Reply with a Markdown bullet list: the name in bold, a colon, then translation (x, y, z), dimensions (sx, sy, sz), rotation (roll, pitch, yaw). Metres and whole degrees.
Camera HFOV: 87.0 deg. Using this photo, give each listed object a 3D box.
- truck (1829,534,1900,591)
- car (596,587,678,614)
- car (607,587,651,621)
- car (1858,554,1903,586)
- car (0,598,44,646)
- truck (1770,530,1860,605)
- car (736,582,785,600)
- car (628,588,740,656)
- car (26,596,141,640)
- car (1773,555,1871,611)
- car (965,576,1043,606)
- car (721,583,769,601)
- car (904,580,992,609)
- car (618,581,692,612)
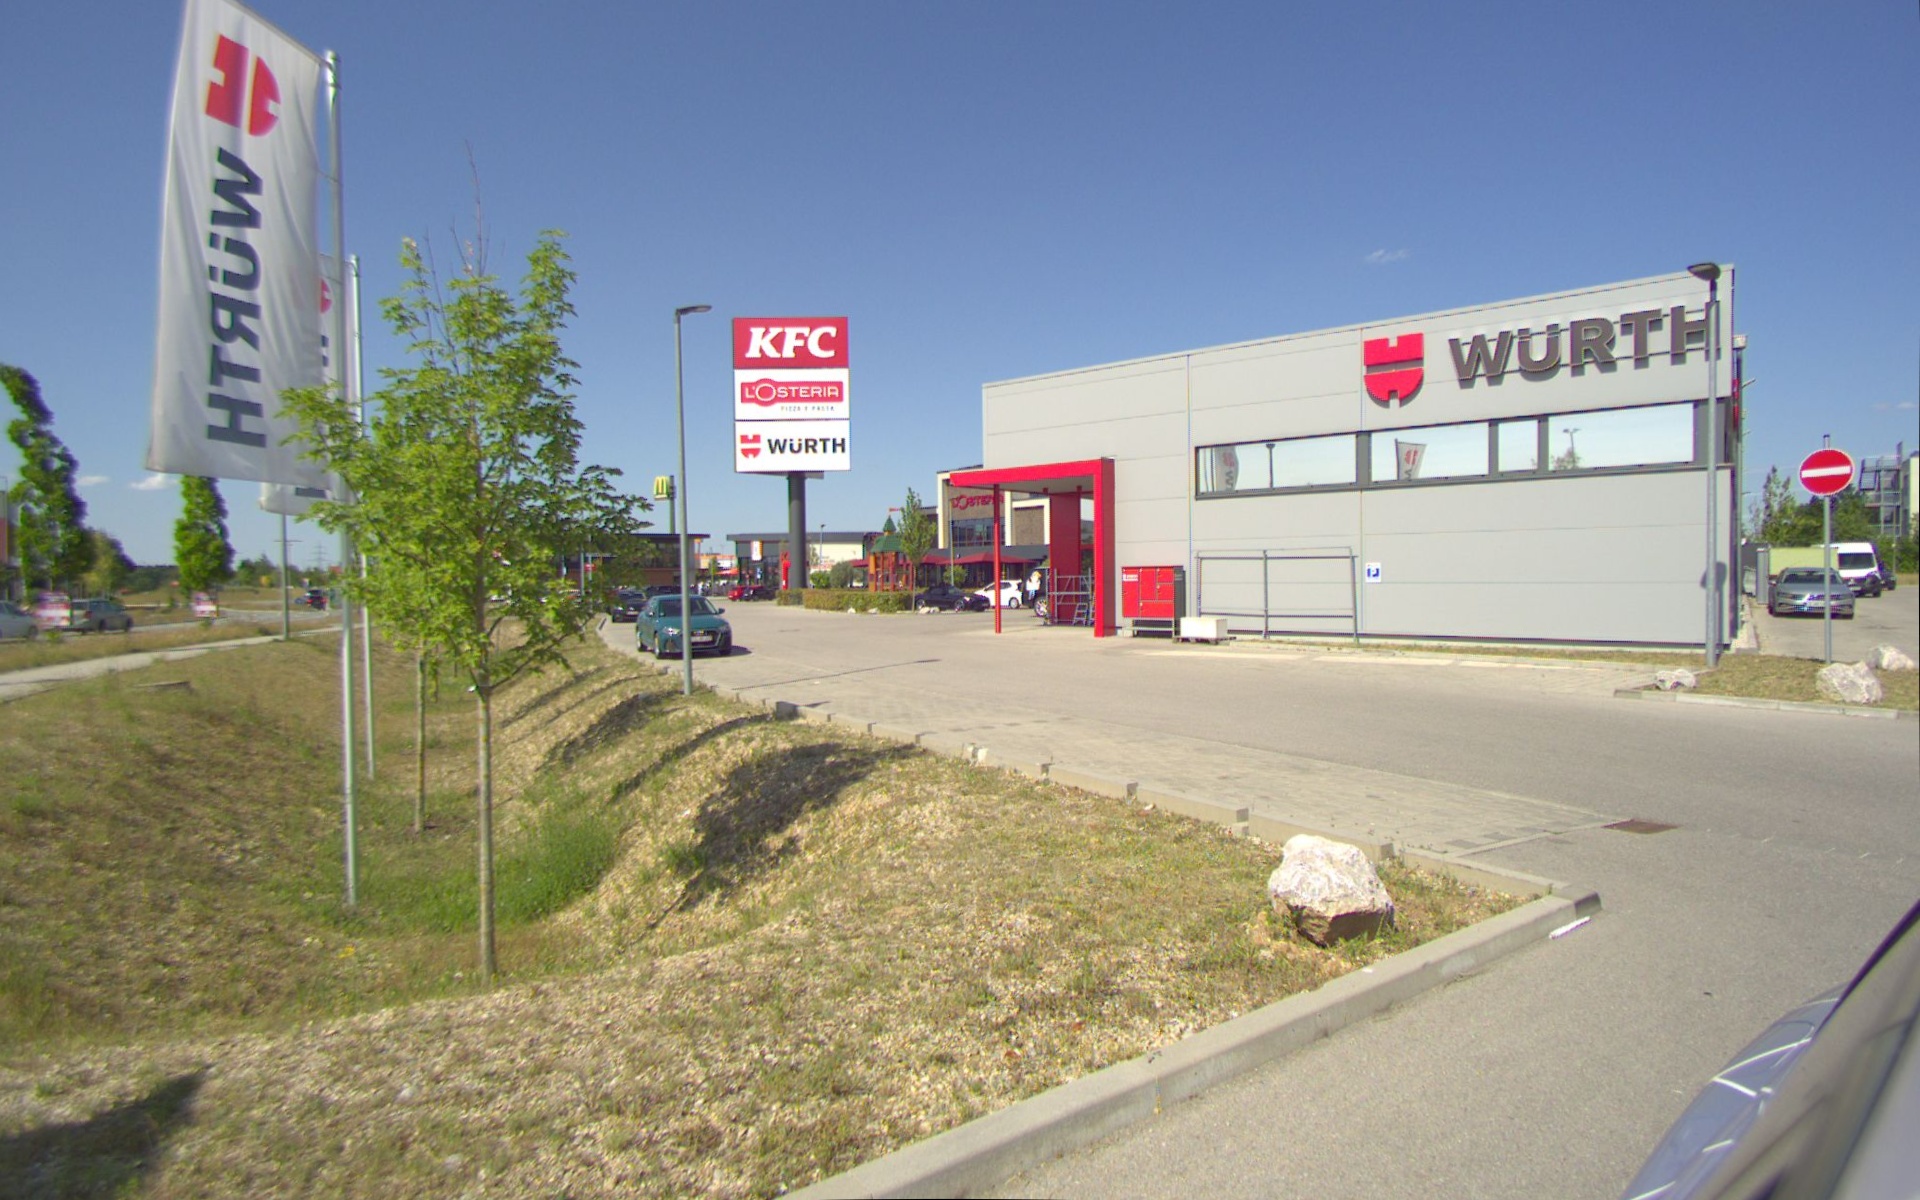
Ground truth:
- **truck**: translation (40.953, -1.702, 45.937), dimensions (1.989, 2.406, 5.811), rotation (-1, 1, 38)
- **car**: translation (-19.346, 0.021, 60.632), dimensions (4.441, 1.477, 2.003), rotation (-2, 1, -25)
- **car**: translation (-15.513, 0.145, 47.372), dimensions (1.839, 1.483, 4.373), rotation (-2, 1, -19)
- **car**: translation (49.310, -1.620, 54.186), dimensions (1.712, 1.638, 3.940), rotation (-1, 2, 43)
- **car**: translation (-33.599, 0.803, 34.499), dimensions (1.906, 1.570, 4.771), rotation (-2, 2, -22)
- **truck**: translation (29.619, -1.121, 35.217), dimensions (2.112, 2.406, 5.811), rotation (-1, 1, 38)
- **car**: translation (-18.565, -0.853, 94.337), dimensions (4.026, 1.585, 1.876), rotation (-2, 1, -41)
- **car**: translation (-6.811, 0.464, 24.657), dimensions (1.808, 1.467, 4.233), rotation (-2, 1, -27)
- **car**: translation (-36.278, 0.676, 42.050), dimensions (1.906, 1.570, 4.771), rotation (-2, 2, -19)
- **car**: translation (25.520, -0.524, 30.081), dimensions (1.868, 1.527, 3.949), rotation (-1, 1, 36)
- **car**: translation (2.304, -0.457, 53.493), dimensions (3.899, 1.493, 1.776), rotation (0, 1, 43)
- **car**: translation (-20.442, -0.808, 96.311), dimensions (4.026, 1.585, 1.876), rotation (-2, 1, -41)
- **car**: translation (-0.614, -0.272, 49.688), dimensions (4.131, 1.354, 1.807), rotation (0, 1, 38)
- **car**: translation (-19.533, -0.220, 65.034), dimensions (4.439, 1.858, 2.004), rotation (-2, 1, -15)
